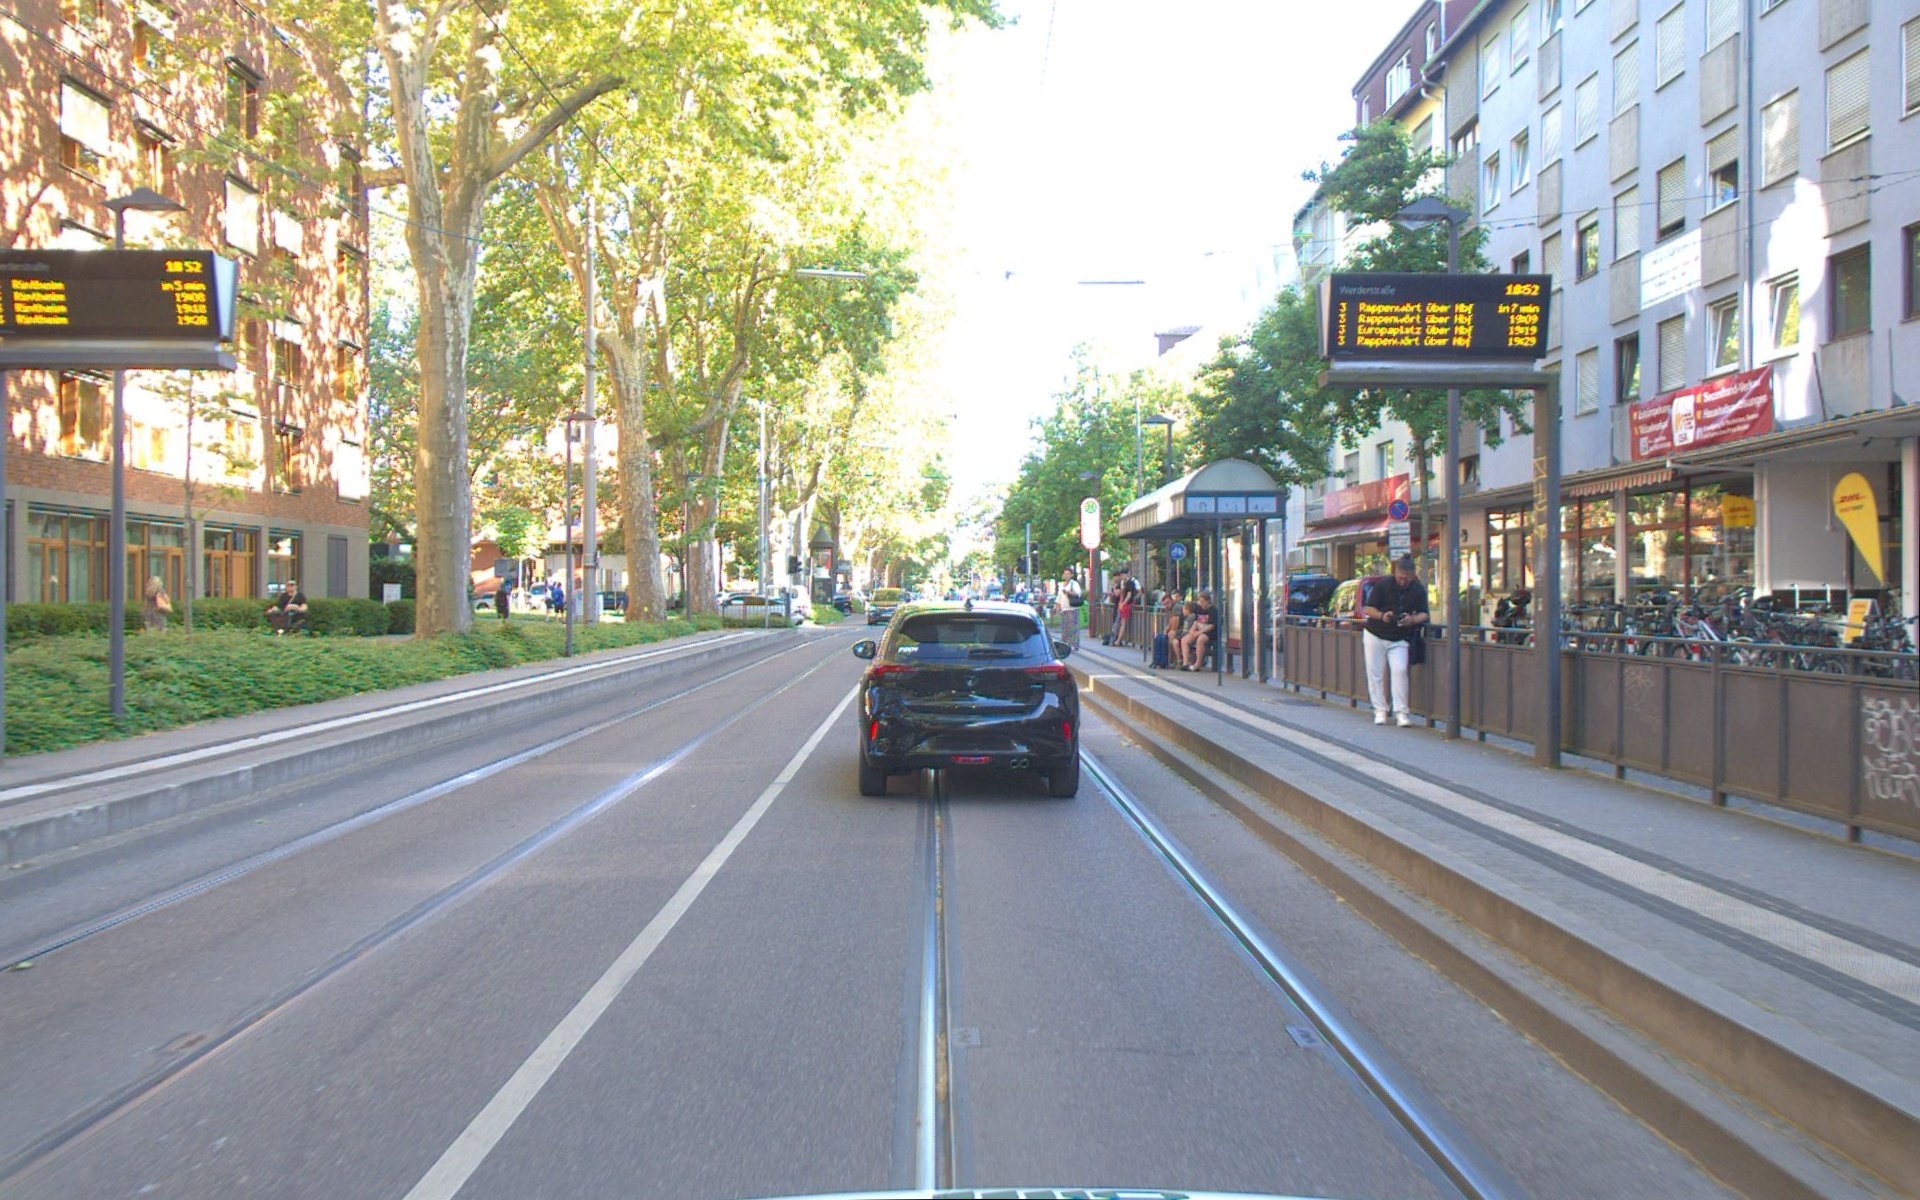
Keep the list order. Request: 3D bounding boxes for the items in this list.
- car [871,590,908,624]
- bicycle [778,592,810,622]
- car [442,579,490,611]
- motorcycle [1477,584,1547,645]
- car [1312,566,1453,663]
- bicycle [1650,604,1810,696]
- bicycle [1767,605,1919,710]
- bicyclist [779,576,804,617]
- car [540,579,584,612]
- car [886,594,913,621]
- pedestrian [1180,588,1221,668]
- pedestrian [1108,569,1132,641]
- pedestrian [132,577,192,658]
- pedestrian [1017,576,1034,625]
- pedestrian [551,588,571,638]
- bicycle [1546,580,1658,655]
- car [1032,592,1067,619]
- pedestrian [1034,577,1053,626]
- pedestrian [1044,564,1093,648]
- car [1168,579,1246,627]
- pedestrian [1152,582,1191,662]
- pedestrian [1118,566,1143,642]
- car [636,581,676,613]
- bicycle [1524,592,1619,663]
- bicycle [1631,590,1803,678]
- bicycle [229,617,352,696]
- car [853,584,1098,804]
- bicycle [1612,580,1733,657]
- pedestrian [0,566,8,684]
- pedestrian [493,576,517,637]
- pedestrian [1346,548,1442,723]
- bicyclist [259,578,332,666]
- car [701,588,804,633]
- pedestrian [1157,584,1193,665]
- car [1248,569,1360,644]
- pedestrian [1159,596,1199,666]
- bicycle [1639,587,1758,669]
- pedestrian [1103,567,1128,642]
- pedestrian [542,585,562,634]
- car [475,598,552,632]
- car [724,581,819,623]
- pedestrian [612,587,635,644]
[{"bbox_3d":[-3.413,0.331,79.694,1.710,1.571,3.998,1,0,-3],"label":"car"},{"bbox_3d":[-7.171,0.304,71.657,0.935,1.262,2.978,1,0,2],"label":"bicycle"},{"bbox_3d":[-32.412,-0.338,108.629,1.953,2.049,3.999,1,0,-1],"label":"car"},{"bbox_3d":[12.318,0.320,36.973,0.874,1.302,2.042,1,0,-1],"label":"motorcycle"},{"bbox_3d":[9.161,0.308,36.179,1.953,1.986,3.999,1,0,-2],"label":"car"},{"bbox_3d":[10.213,0.632,22.051,0.592,1.156,2.427,1,0,-12],"label":"bicycle"},{"bbox_3d":[10.666,0.643,19.617,0.610,1.156,2.432,1,0,-12],"label":"bicycle"},{"bbox_3d":[-7.203,-0.146,70.749,0.921,1.732,1.153,1,0,2],"label":"bicyclist"},{"bbox_3d":[-26.126,-0.286,108.793,1.953,2.049,3.999,1,0,-1],"label":"car"},{"bbox_3d":[-4.021,0.508,110.321,1.749,1.723,3.998,1,0,-3],"label":"car"},{"bbox_3d":[3.809,0.440,26.183,0.523,1.252,0.510,1,0,-5],"label":"pedestrian"},{"bbox_3d":[3.901,0.129,40.293,0.520,1.739,0.596,1,-1,1],"label":"pedestrian"},{"bbox_3d":[-16.490,0.354,34.206,0.759,1.633,0.946,1,0,-1],"label":"pedestrian"},{"bbox_3d":[2.797,0.004,70.571,0.661,2.049,0.701,2,0,5],"label":"pedestrian"},{"bbox_3d":[-16.033,0.527,66.482,0.659,1.984,0.497,2,0,-4],"label":"pedestrian"},{"bbox_3d":[10.416,0.275,26.920,0.587,1.156,2.197,1,0,-12],"label":"bicycle"},{"bbox_3d":[5.767,0.365,106.917,1.953,1.661,3.999,1,0,-1],"label":"car"},{"bbox_3d":[3.548,0.066,70.086,0.661,2.049,0.702,2,0,11],"label":"pedestrian"},{"bbox_3d":[2.286,0.123,34.730,0.736,1.739,0.761,0,-1,34],"label":"pedestrian"},{"bbox_3d":[8.196,0.109,55.186,1.953,1.512,3.999,1,0,-1],"label":"car"},{"bbox_3d":[3.552,0.369,27.814,0.523,1.327,0.550,1,0,-5],"label":"pedestrian"},{"bbox_3d":[4.079,0.101,39.569,0.520,1.793,0.661,1,0,1],"label":"pedestrian"},{"bbox_3d":[-20.143,-0.178,109.684,1.953,2.049,3.999,1,0,-1],"label":"car"},{"bbox_3d":[10.437,0.451,28.302,0.586,1.156,2.201,1,0,-7],"label":"bicycle"},{"bbox_3d":[10.604,0.452,23.320,0.600,1.156,2.913,1,0,-12],"label":"bicycle"},{"bbox_3d":[-11.609,0.947,28.812,0.935,1.262,2.977,1,0,-1],"label":"bicycle"},{"bbox_3d":[0.019,0.669,13.573,1.725,1.534,3.681,-1,0,-3],"label":"car"},{"bbox_3d":[11.127,0.281,25.924,0.587,1.156,2.197,1,0,-12],"label":"bicycle"},{"bbox_3d":[-14.118,0.351,23.450,0.720,1.701,0.860,1,0,-1],"label":"pedestrian"},{"bbox_3d":[-14.849,0.223,54.027,0.486,1.984,0.675,1,-1,11],"label":"pedestrian"},{"bbox_3d":[4.126,0.324,15.769,0.618,1.603,0.870,2,0,-1],"label":"pedestrian"},{"bbox_3d":[-11.611,0.382,28.923,0.935,1.518,0.837,1,0,-1],"label":"bicyclist"},{"bbox_3d":[-8.345,0.404,66.436,4.037,1.730,1.880,1,0,-8],"label":"car"},{"bbox_3d":[3.539,0.399,27.229,0.493,1.327,0.428,1,-1,-5],"label":"pedestrian"},{"bbox_3d":[8.840,0.160,42.826,1.953,1.829,3.999,1,0,-2],"label":"car"},{"bbox_3d":[3.529,0.493,26.693,0.523,1.119,0.550,1,0,-5],"label":"pedestrian"},{"bbox_3d":[10.904,0.399,24.496,0.403,1.156,2.197,1,0,-12],"label":"bicycle"},{"bbox_3d":[3.656,0.115,38.937,0.520,1.739,0.752,1,0,1],"label":"pedestrian"},{"bbox_3d":[-16.629,0.378,67.349,0.659,1.984,0.497,2,0,-4],"label":"pedestrian"},{"bbox_3d":[-27.327,0.915,101.369,4.163,2.049,1.999,1,0,-1],"label":"car"},{"bbox_3d":[-8.817,0.095,77.194,4.302,1.884,1.996,1,0,-8],"label":"car"},{"bbox_3d":[-11.659,0.539,57.322,0.658,1.984,0.498,1,-1,-1],"label":"pedestrian"}]
